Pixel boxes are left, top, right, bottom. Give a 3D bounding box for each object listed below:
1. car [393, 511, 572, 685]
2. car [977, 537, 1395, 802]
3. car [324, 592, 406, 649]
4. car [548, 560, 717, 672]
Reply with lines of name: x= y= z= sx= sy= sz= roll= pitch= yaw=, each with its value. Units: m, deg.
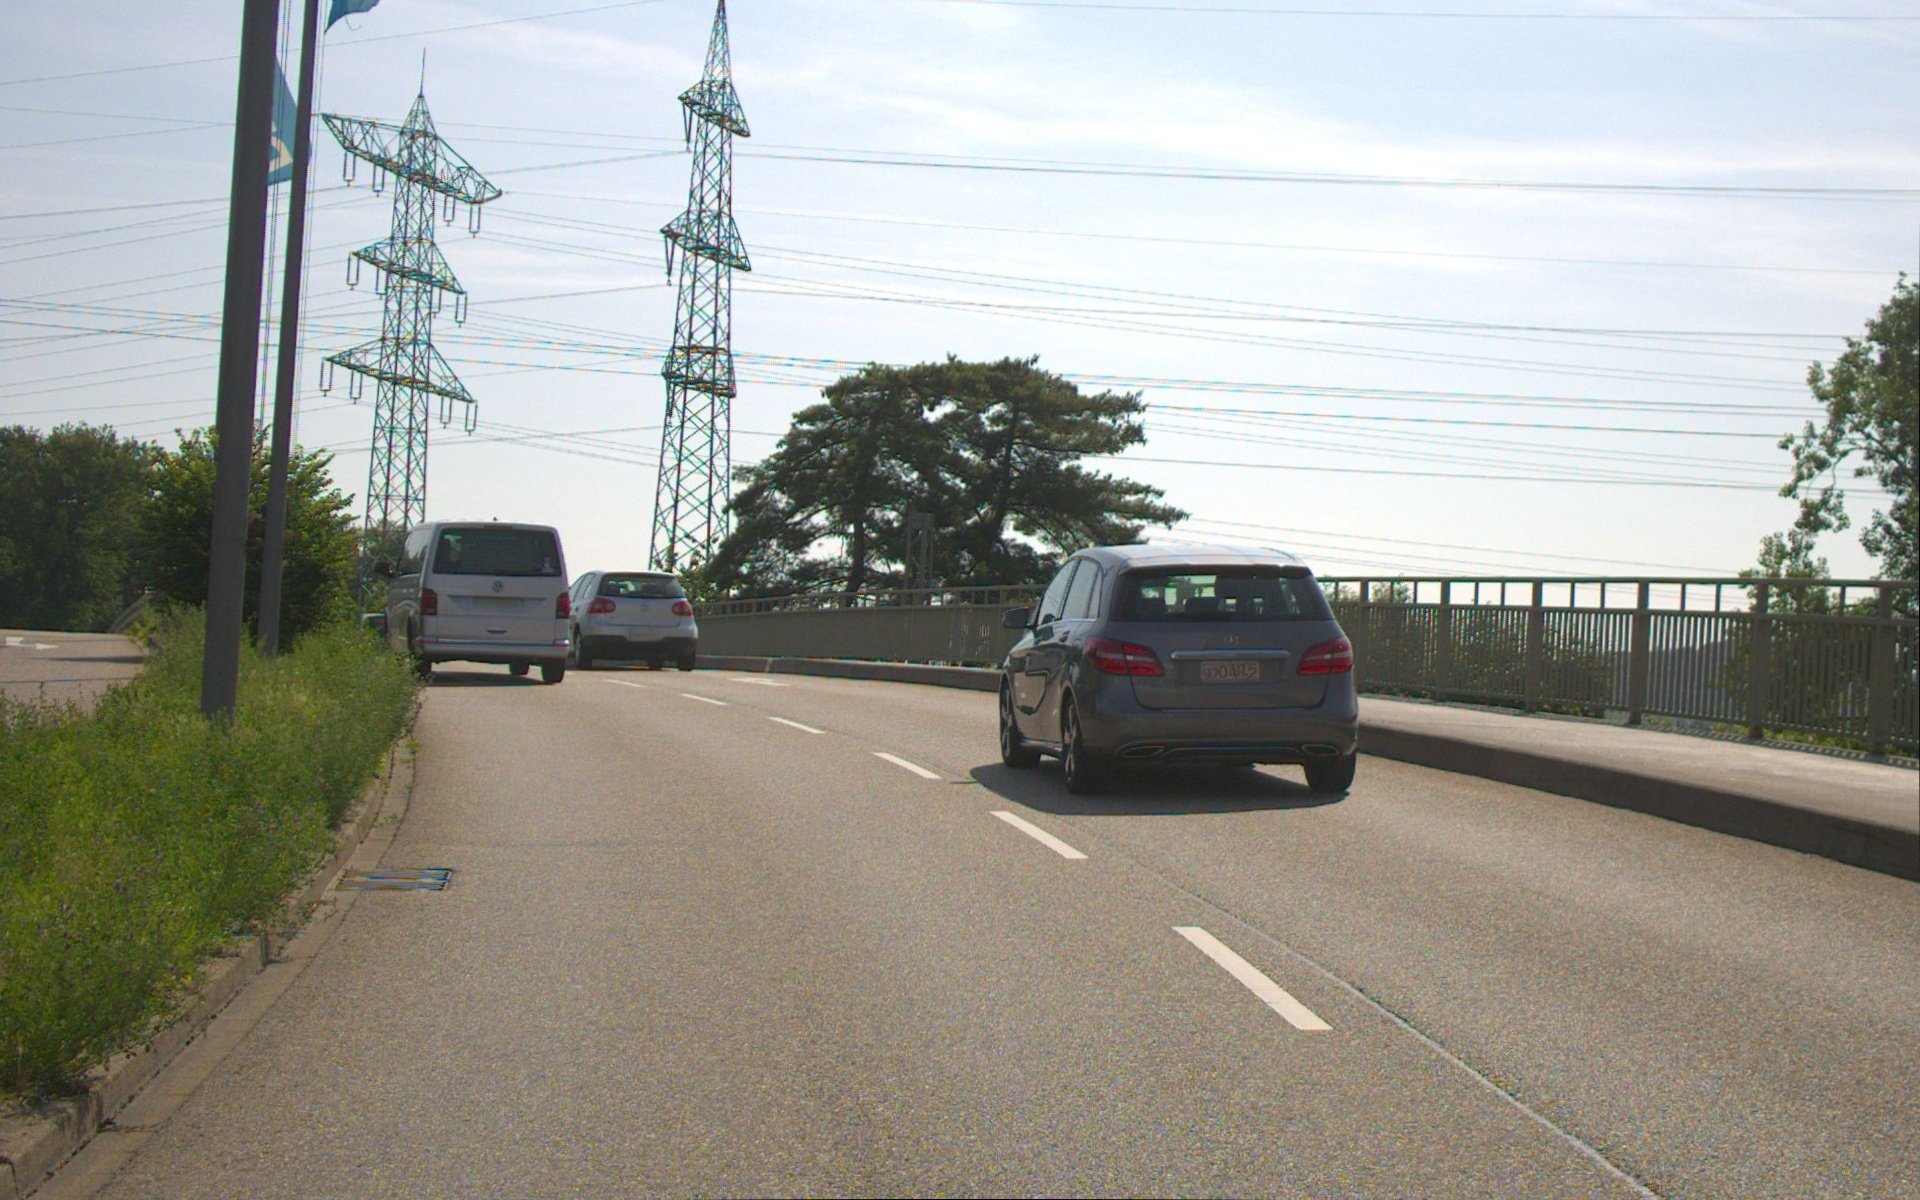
car: x=-5.923 y=-0.054 z=42.376 sx=2.038 sy=2.007 sz=4.001 roll=-1 pitch=1 yaw=-9
car: x=1.362 y=0.419 z=22.483 sx=1.856 sy=1.524 sz=4.145 roll=2 pitch=0 yaw=-8
car: x=-15.358 y=0.539 z=88.608 sx=1.773 sy=1.327 sz=3.741 roll=4 pitch=-2 yaw=-13
car: x=-4.922 y=0.205 z=51.231 sx=1.856 sy=1.524 sz=4.145 roll=2 pitch=0 yaw=-14
